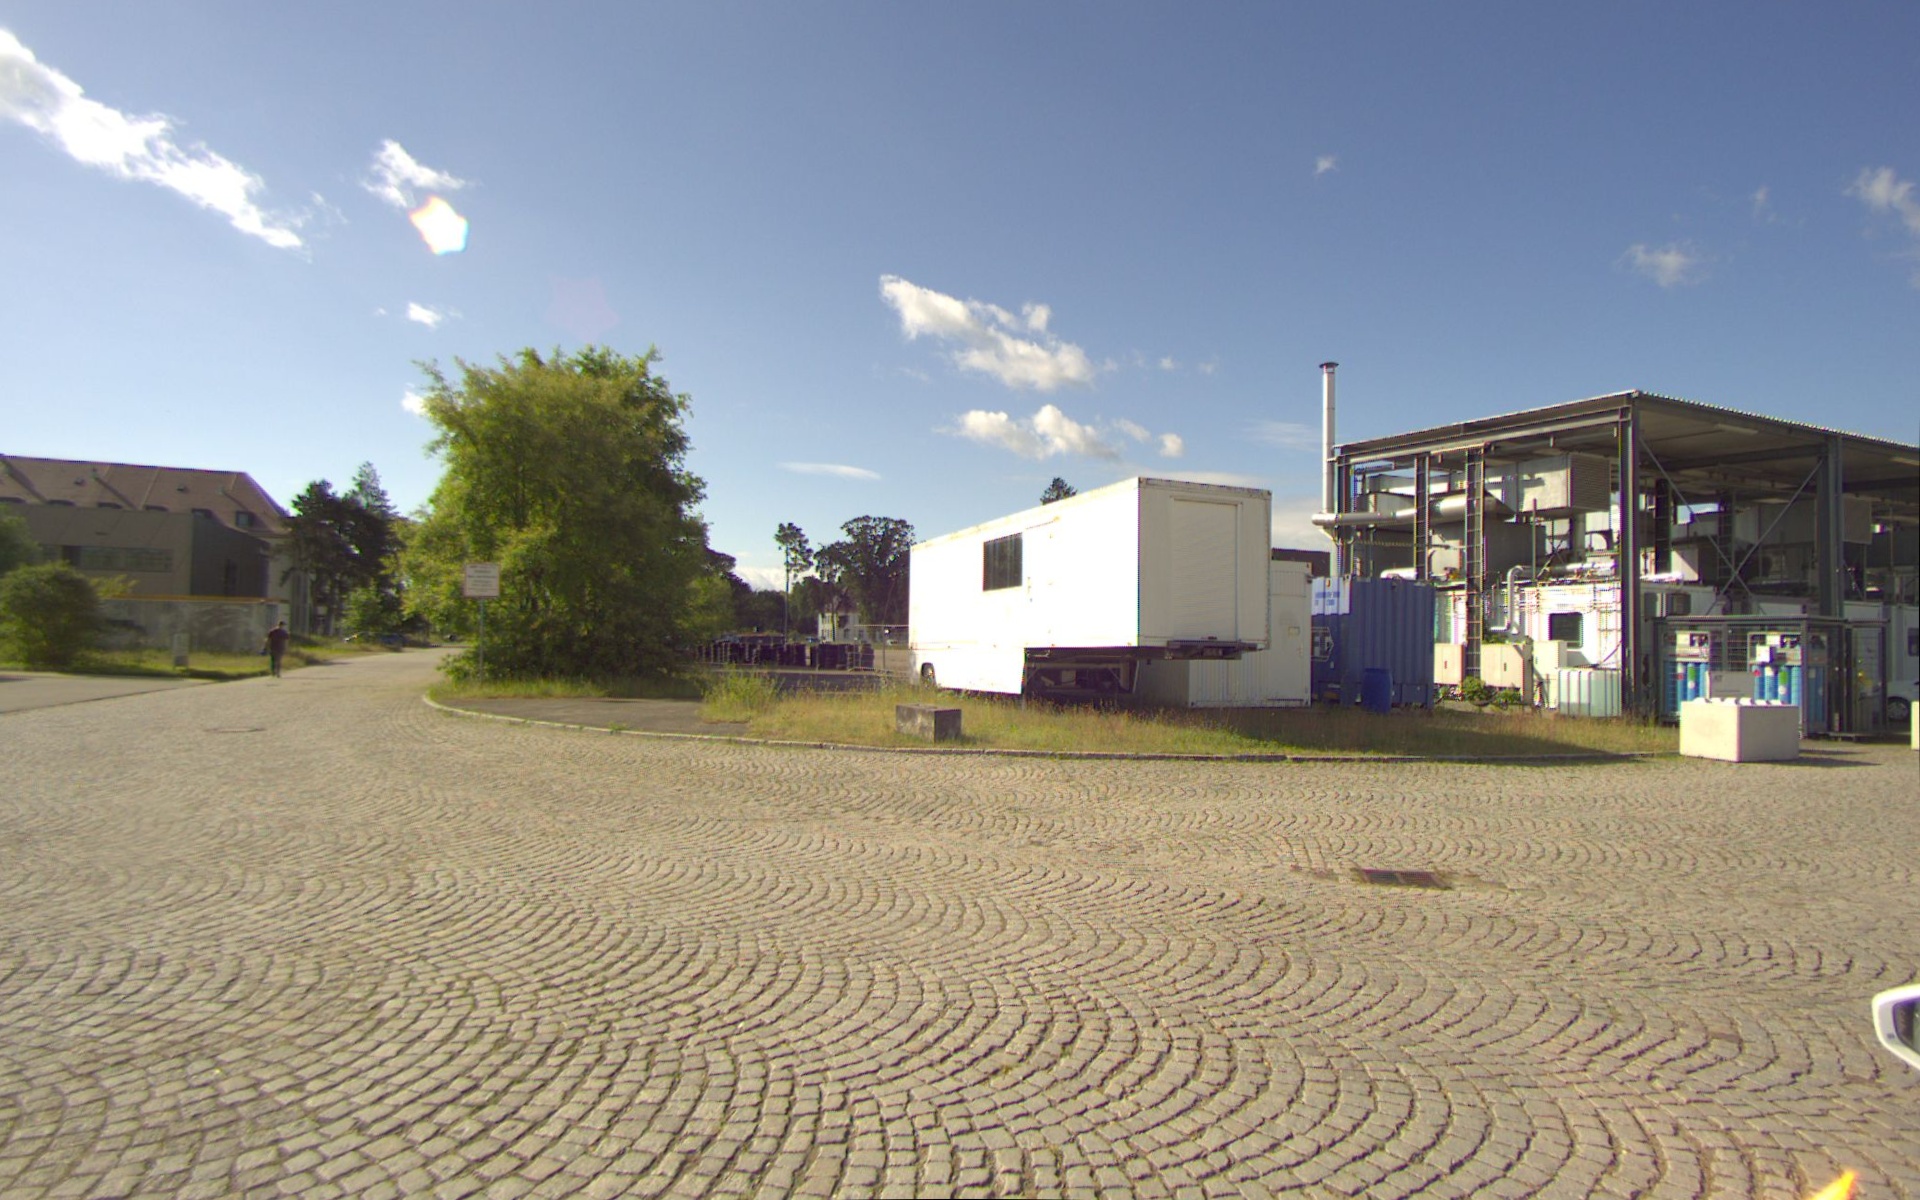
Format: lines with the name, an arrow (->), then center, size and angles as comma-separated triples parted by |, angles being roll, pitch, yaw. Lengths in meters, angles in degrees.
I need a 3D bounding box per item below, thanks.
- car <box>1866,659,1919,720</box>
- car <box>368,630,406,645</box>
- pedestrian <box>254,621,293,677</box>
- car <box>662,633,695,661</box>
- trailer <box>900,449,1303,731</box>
car -> 23.408, 2.115, 23.139 | 1.591, 1.394, 3.449 | 2, -3, -27
car -> -51.555, 3.360, 90.379 | 2.881, 1.276, 1.276 | 2, -2, -34
pedestrian -> -22.445, 1.600, 32.854 | 0.787, 1.804, 1.062 | 4, -3, -26
car -> -15.054, 2.519, 53.649 | 1.521, 1.425, 3.563 | 2, -3, -18
trailer -> 1.874, 0.070, 19.633 | 2.741, 3.962, 10.831 | 2, -3, -22
